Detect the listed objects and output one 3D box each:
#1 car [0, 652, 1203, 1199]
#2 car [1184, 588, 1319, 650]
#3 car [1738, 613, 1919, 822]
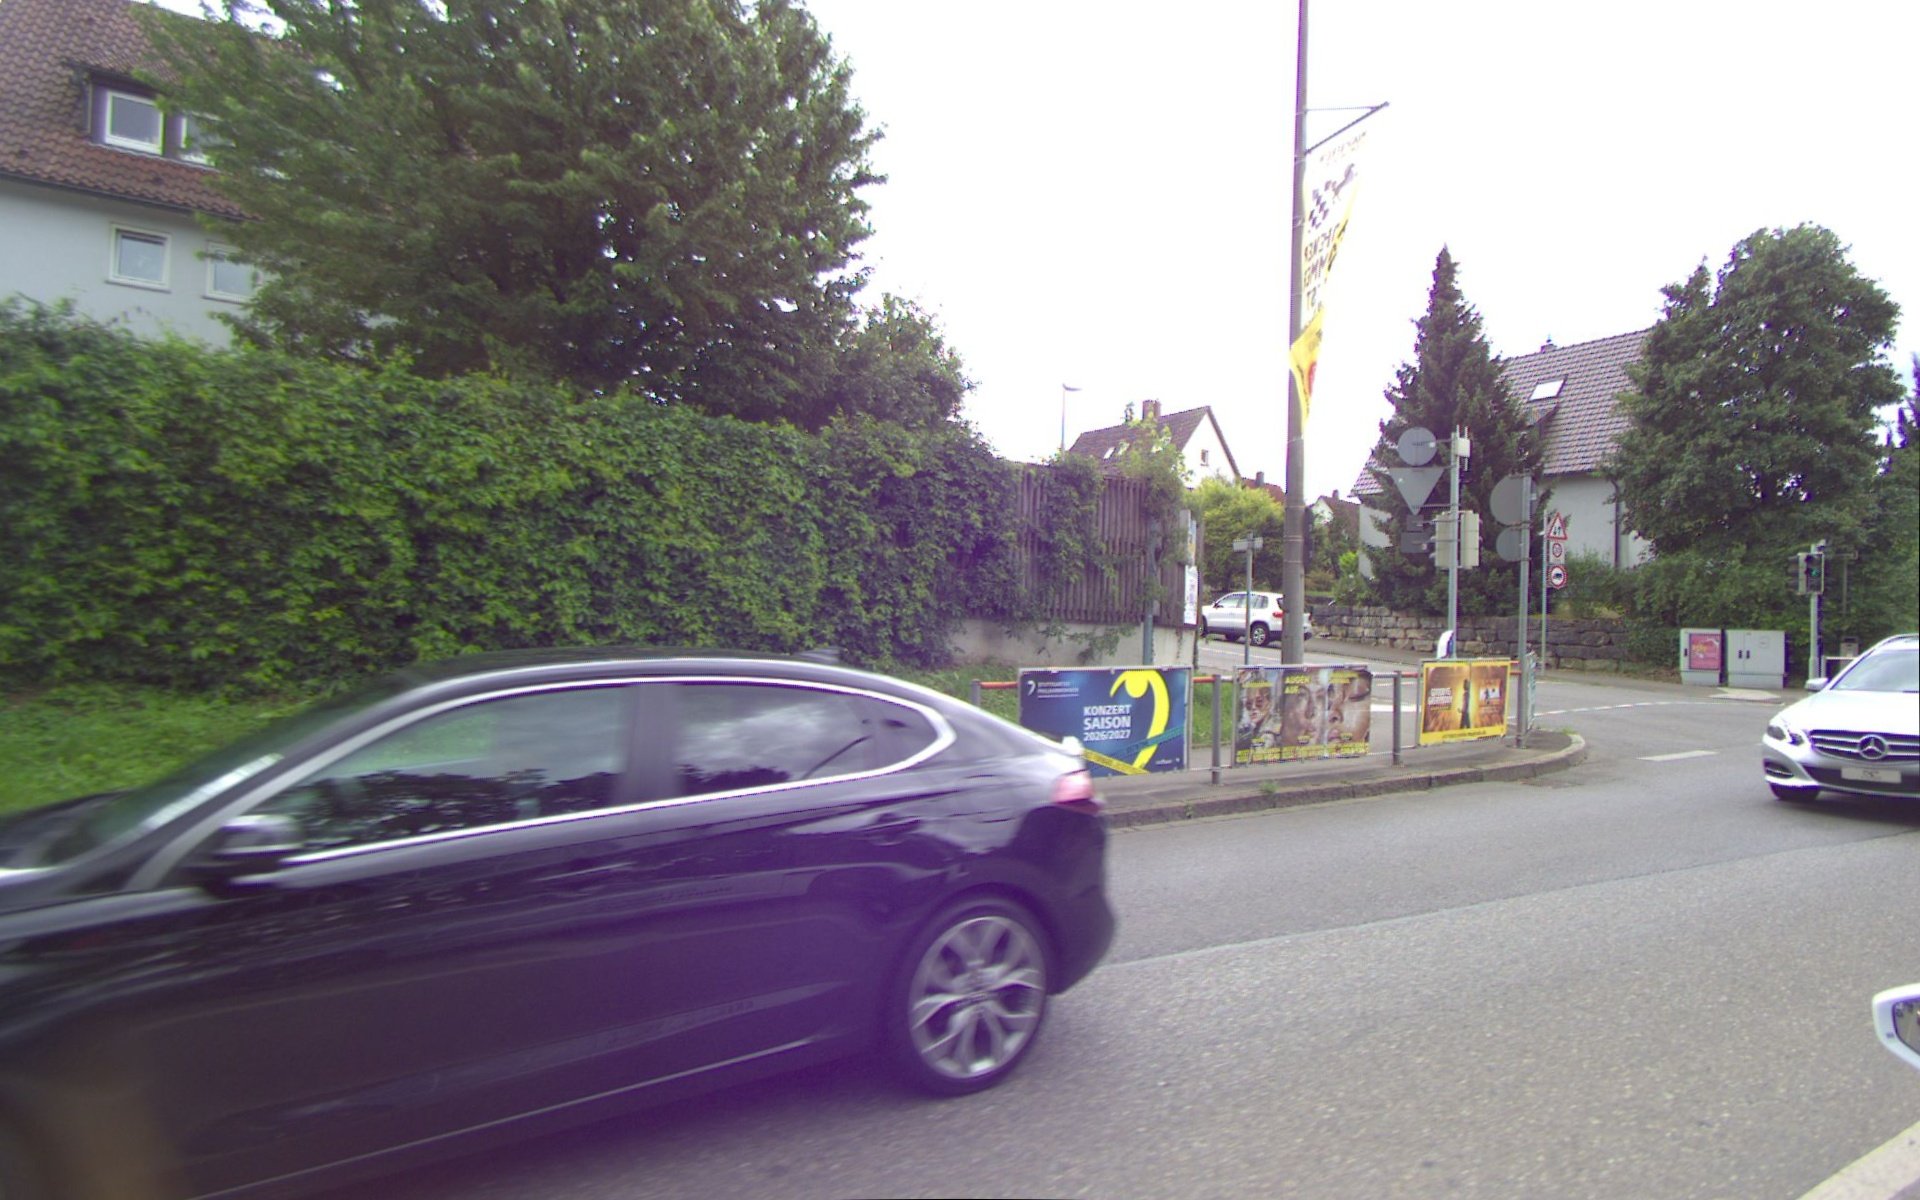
[{"bbox_3d":[-1.344,0.899,3.386,4.110,1.391,1.804,1,-2,-30],"label":"car"},{"bbox_3d":[9.198,0.567,31.974,1.820,1.620,3.873,1,3,-31],"label":"car"},{"bbox_3d":[9.452,0.961,9.372,5.147,1.588,1.809,1,0,-32],"label":"car"}]
